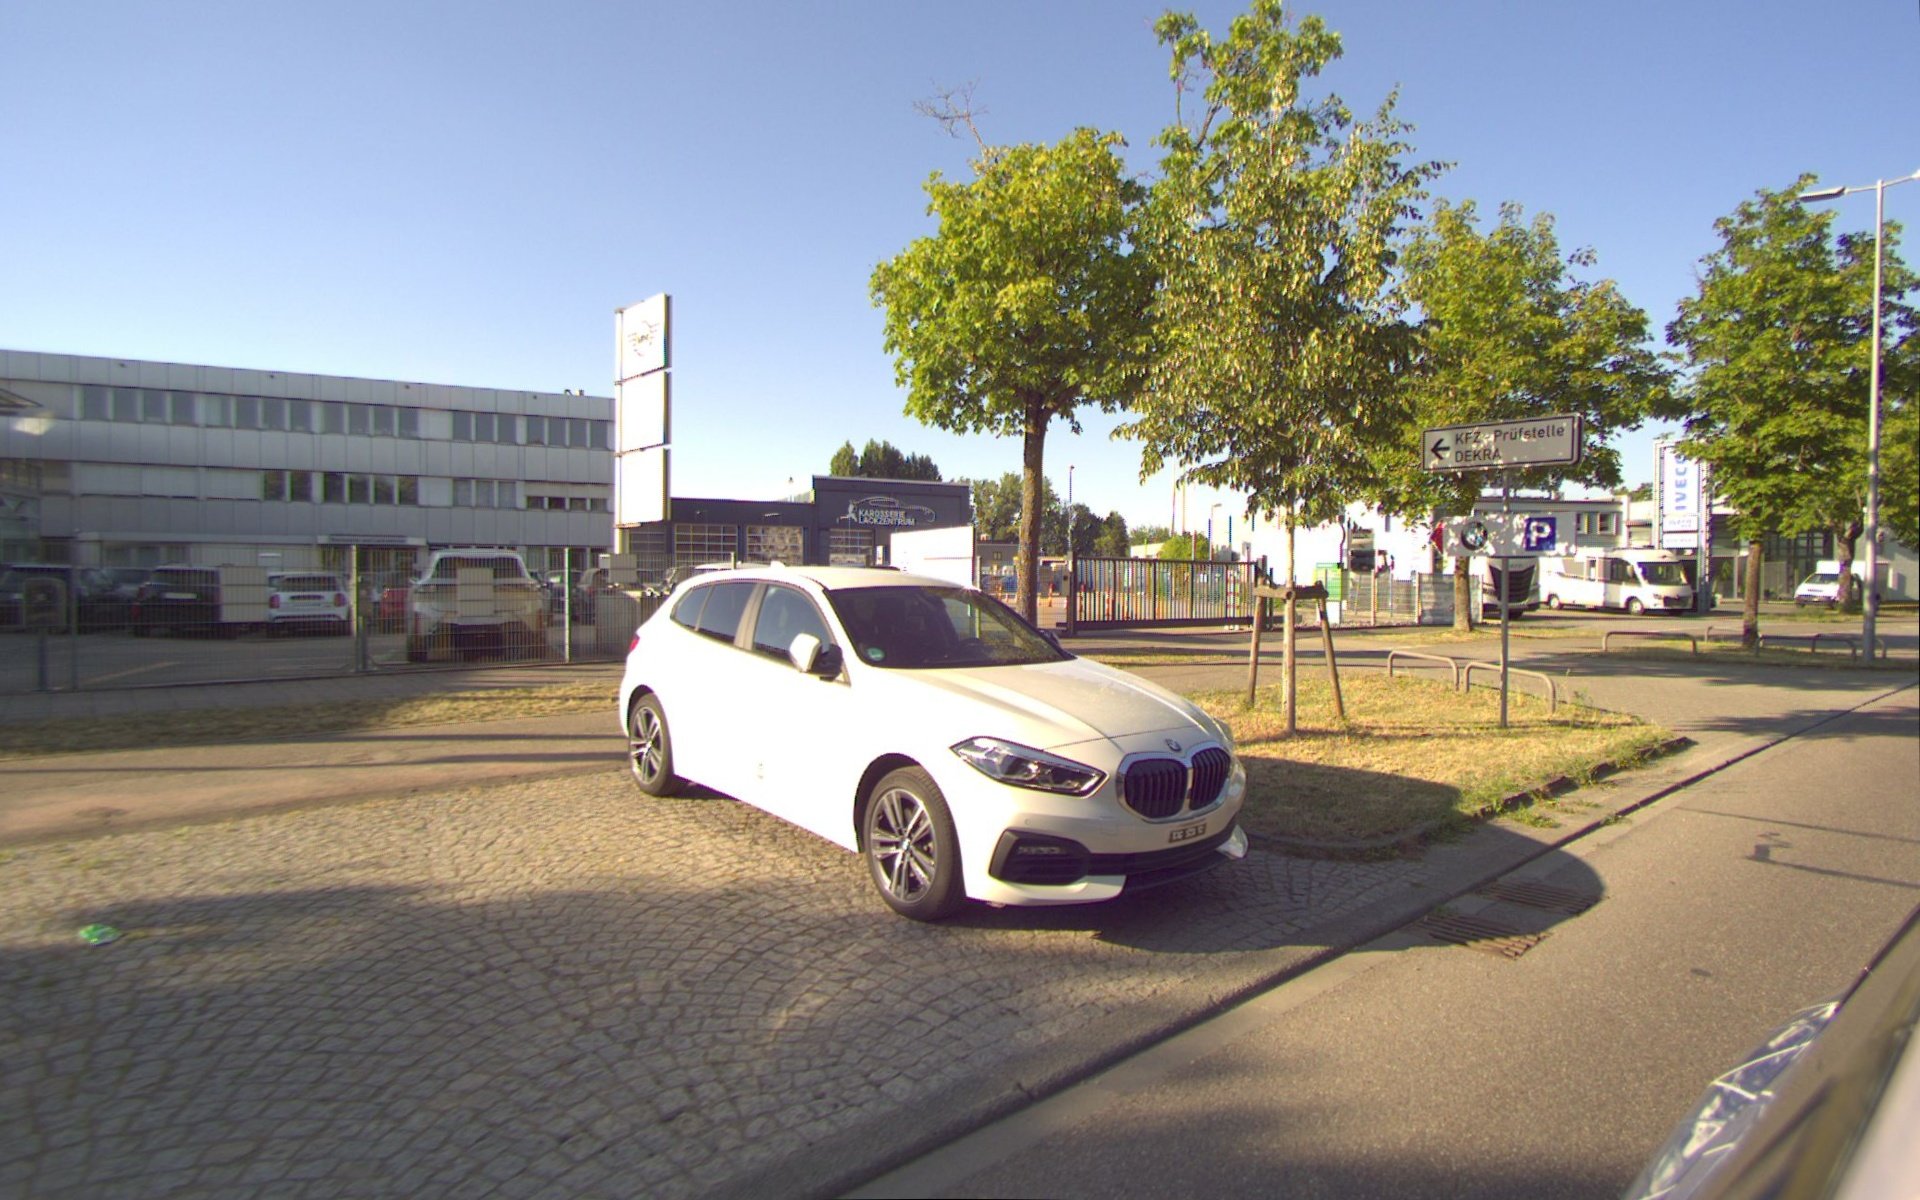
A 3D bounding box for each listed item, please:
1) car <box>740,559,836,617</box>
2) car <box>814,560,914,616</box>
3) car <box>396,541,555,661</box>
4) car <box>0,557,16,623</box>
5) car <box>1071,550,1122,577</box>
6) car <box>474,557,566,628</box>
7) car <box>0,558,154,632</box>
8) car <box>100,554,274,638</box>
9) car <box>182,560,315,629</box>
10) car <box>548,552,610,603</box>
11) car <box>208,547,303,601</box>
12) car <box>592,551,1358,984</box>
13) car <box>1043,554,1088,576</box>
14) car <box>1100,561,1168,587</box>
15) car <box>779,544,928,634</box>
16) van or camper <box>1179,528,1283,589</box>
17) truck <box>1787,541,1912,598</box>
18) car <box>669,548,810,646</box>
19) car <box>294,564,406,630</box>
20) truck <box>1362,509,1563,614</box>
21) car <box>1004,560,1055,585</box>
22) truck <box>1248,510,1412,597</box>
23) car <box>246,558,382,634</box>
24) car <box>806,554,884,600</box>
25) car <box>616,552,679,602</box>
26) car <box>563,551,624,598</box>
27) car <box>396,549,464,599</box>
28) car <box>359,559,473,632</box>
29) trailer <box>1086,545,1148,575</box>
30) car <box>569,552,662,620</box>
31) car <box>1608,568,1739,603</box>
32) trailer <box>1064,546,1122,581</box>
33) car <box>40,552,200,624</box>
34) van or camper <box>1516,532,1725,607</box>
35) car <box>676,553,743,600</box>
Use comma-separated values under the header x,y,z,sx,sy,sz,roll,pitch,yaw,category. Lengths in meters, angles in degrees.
x,y,z,sx,sy,sz,roll,pitch,yaw,category
-4.999,-0.391,28.956,1.884,1.549,4.009,-1,2,-22,car
-2.934,-0.414,30.175,1.884,1.549,4.009,-1,2,-22,car
-7.423,-0.065,15.734,1.958,1.598,4.008,-1,2,-24,car
-21.602,-0.191,20.708,1.958,1.464,4.009,2,1,-21,car
11.783,-3.137,87.453,3.918,2.305,2.092,0,2,-9,car
-11.311,-0.262,26.235,1.959,1.597,4.009,-3,3,-21,car
-19.738,-0.158,22.294,1.958,1.464,4.009,2,1,-21,car
-17.086,-0.136,22.615,1.958,1.598,4.009,4,0,-21,car
-19.047,-0.200,27.305,1.958,1.598,4.009,4,0,-21,car
-13.436,-0.823,35.681,1.865,1.597,4.009,-3,3,-21,car
-24.269,-0.916,35.013,1.959,1.762,4.008,-1,2,-24,car
-0.257,0.482,5.748,2.053,1.461,4.205,-1,4,-42,car
10.045,-3.338,96.430,3.917,2.038,2.004,0,2,-9,car
13.956,-2.100,81.397,4.947,2.038,2.004,0,1,-10,car
-2.225,-0.267,20.142,1.958,1.598,4.009,-1,2,-21,car
16.055,-2.455,60.611,2.364,3.370,8.157,0,2,-14,van or camper
45.488,-1.553,51.738,5.848,2.753,2.552,0,2,-24,truck
-4.188,-0.131,18.743,1.958,1.598,4.009,-1,2,-21,car
-17.051,-0.135,28.490,1.958,1.598,4.009,4,0,-21,car
18.821,-1.457,38.715,3.053,3.565,8.264,0,2,-4,truck
5.855,-2.350,85.600,3.918,2.038,2.004,0,2,-9,car
17.199,-2.154,48.094,3.229,3.689,10.133,0,2,-5,truck
-15.401,-0.169,24.366,1.959,1.597,4.009,-3,3,-21,car
-4.414,-0.901,38.304,1.959,1.597,4.009,-3,3,-21,car
-11.338,-0.862,36.569,1.865,1.597,4.009,-3,3,-21,car
-14.473,-1.034,39.872,1.959,1.762,4.008,-1,2,-24,car
-19.439,-0.976,37.260,1.959,1.762,4.008,-1,2,-24,car
-13.455,-0.185,25.279,1.959,1.597,4.009,-3,3,-21,car
13.180,-3.361,85.346,4.758,2.466,2.004,0,2,-9,trailer
-9.302,-0.424,27.140,2.116,1.597,4.009,-3,3,-21,car
32.960,-0.704,46.848,4.795,1.510,1.971,2,2,42,car
11.939,-3.278,90.703,4.758,3.107,2.004,0,1,-9,trailer
-21.721,-0.345,26.386,1.958,1.598,4.009,4,0,-21,car
28.210,-1.343,43.828,2.882,2.935,8.027,0,2,-9,van or camper
-9.310,-0.897,37.453,1.865,1.597,4.009,-3,3,-21,car
